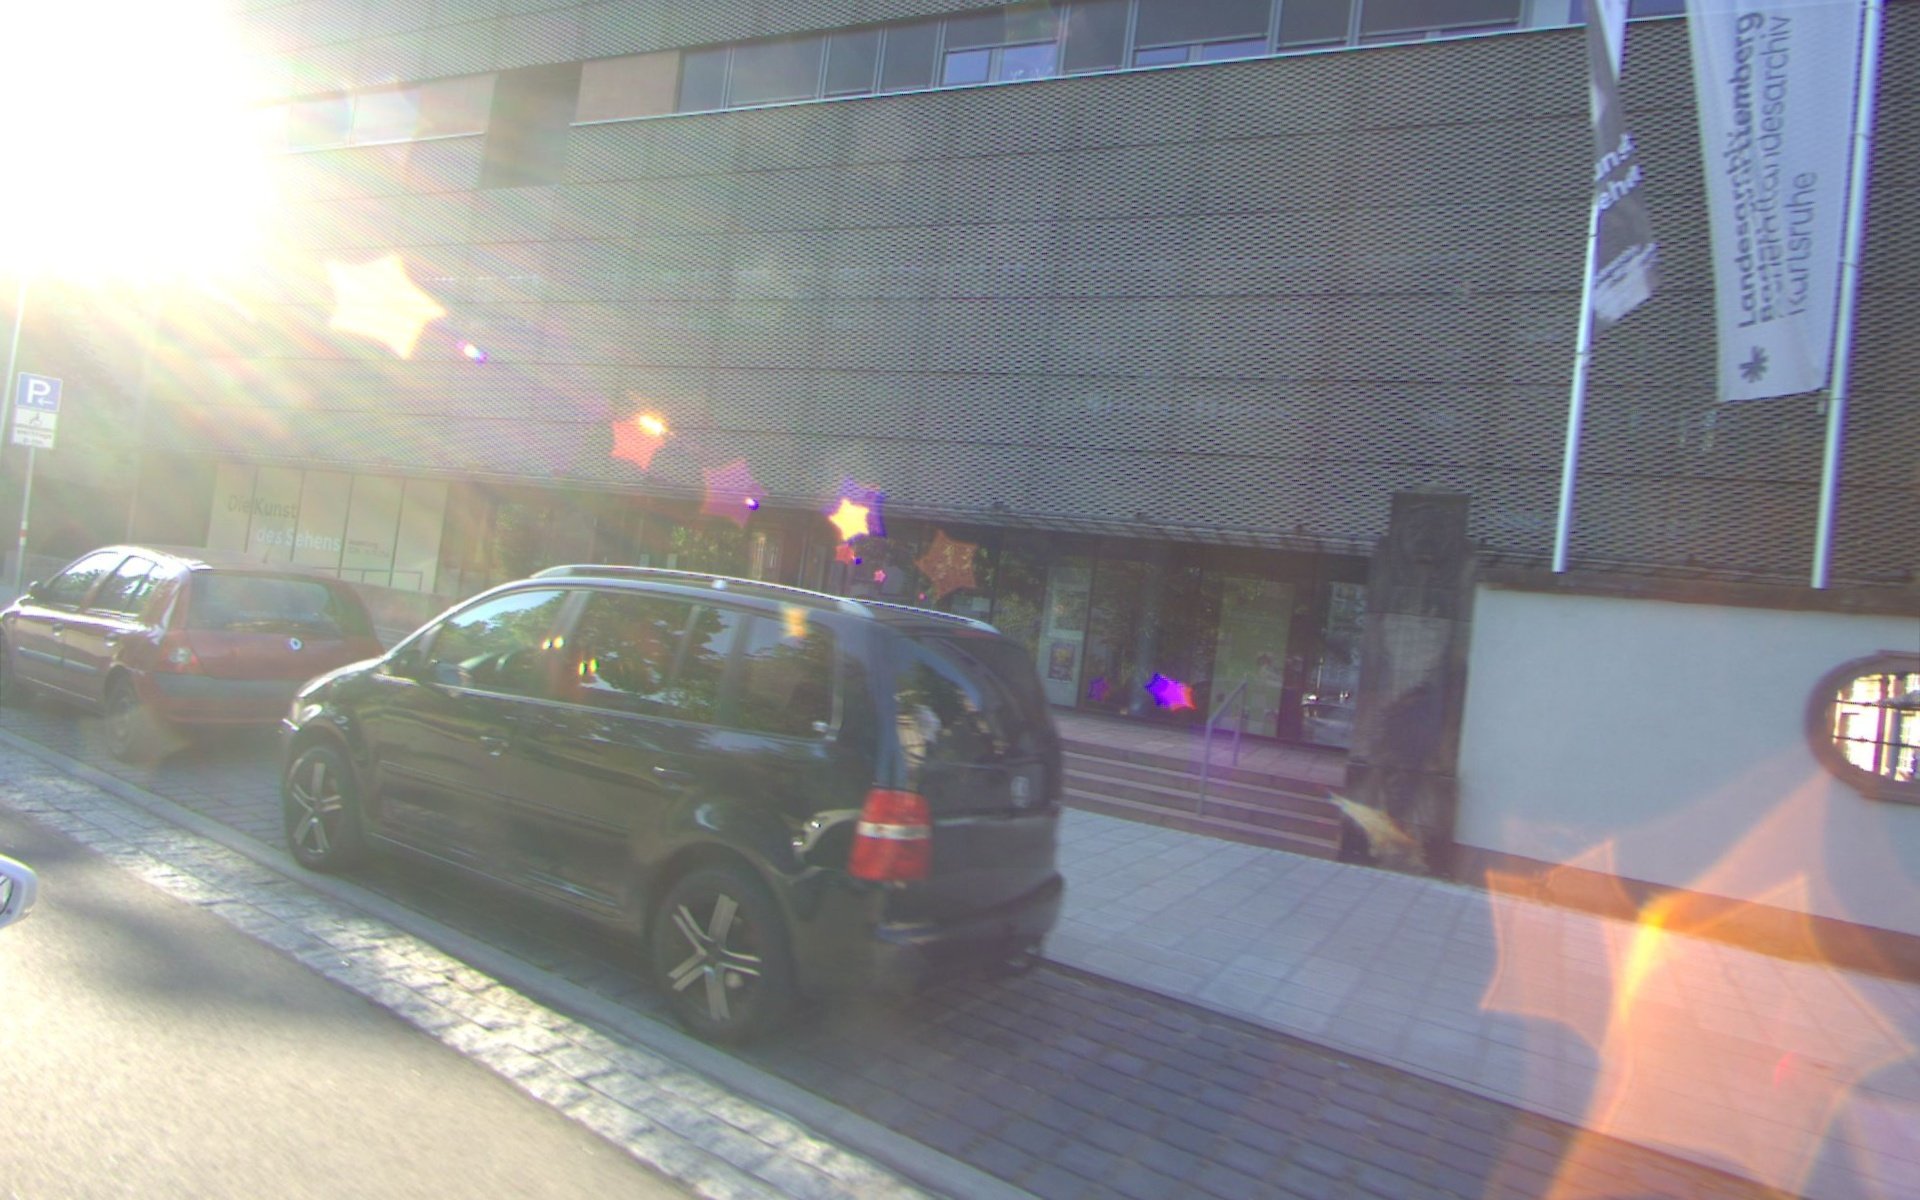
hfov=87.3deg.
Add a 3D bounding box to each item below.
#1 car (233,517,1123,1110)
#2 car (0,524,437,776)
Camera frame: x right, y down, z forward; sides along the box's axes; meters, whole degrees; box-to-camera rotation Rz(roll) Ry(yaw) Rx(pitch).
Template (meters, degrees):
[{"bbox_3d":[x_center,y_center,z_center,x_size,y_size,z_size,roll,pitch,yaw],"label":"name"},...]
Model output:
[{"bbox_3d":[-1.498,0.668,4.932,4.044,1.688,1.728,6,-2,30],"label":"car"},{"bbox_3d":[-6.157,0.305,7.980,3.842,1.438,1.728,6,-3,32],"label":"car"}]
